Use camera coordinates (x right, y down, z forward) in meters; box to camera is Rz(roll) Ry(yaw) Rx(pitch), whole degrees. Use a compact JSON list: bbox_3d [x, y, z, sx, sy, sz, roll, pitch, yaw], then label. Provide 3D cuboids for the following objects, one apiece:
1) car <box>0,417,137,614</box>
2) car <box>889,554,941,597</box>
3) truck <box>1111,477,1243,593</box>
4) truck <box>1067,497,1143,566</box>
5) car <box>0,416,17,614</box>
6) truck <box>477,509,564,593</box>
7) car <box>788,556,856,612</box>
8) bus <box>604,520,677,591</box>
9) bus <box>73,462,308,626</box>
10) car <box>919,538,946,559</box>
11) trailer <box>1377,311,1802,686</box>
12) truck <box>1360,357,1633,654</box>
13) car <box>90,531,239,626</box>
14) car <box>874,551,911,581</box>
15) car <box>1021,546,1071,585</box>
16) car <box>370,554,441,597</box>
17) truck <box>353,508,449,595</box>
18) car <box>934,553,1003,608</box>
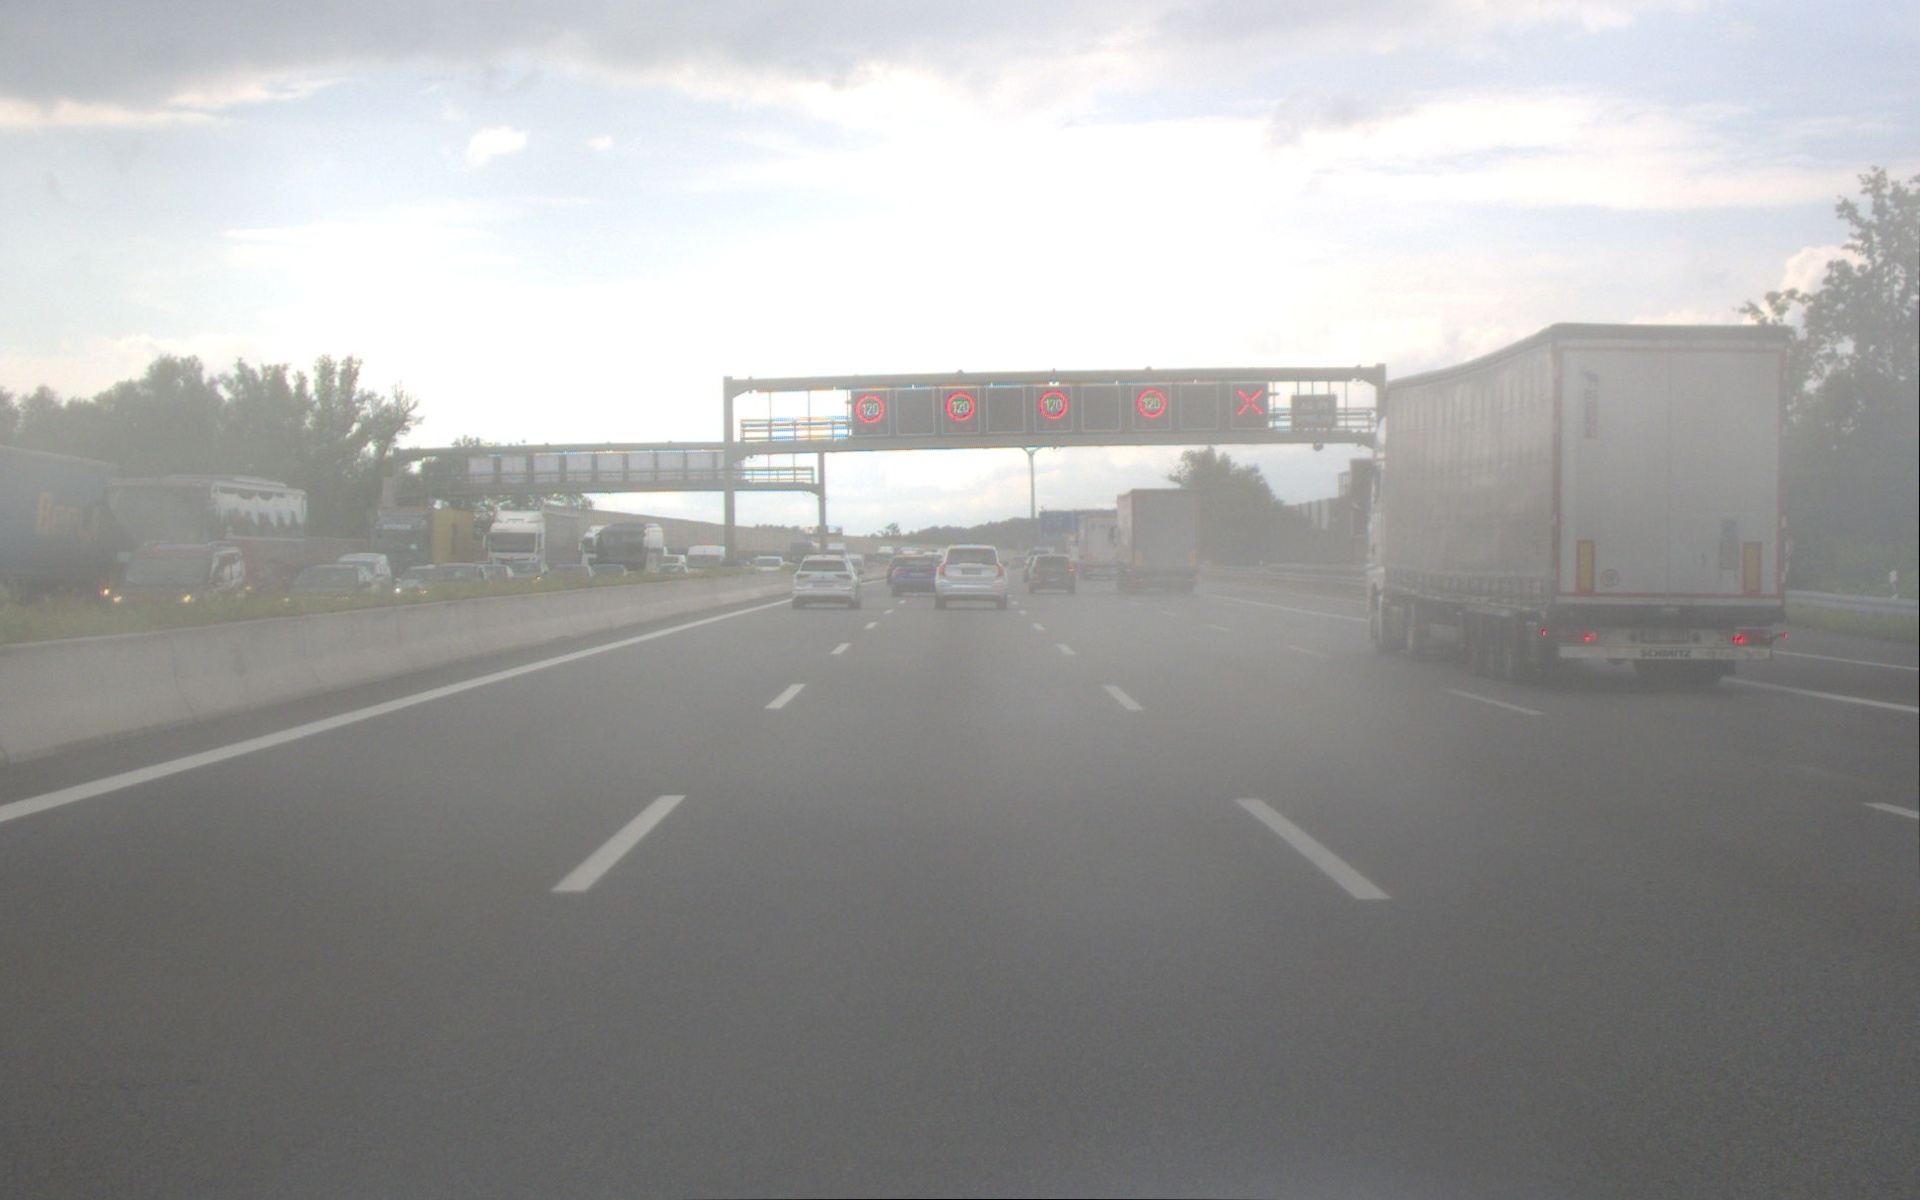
[{"bbox_3d":[-21.617,-1.873,77.161,2.982,4.109,14.396,1,1,-1],"label":"car"},{"bbox_3d":[-1.619,-0.878,121.384,1.772,1.436,4.056,0,1,-1],"label":"car"},{"bbox_3d":[8.452,-2.558,135.800,4.180,4.273,12.613,1,1,-1],"label":"truck"},{"bbox_3d":[9.056,-4.267,215.693,4.244,4.162,11.990,1,1,0],"label":"truck"},{"bbox_3d":[-21.523,-1.762,70.019,2.982,4.135,6.043,1,1,-1],"label":"car"},{"bbox_3d":[-21.419,-2.391,167.892,2.886,3.948,7.535,1,1,2],"label":"truck"},{"bbox_3d":[-3.712,-0.454,93.124,1.772,1.436,3.874,0,1,-1],"label":"car"},{"bbox_3d":[-17.009,-2.377,183.615,2.654,3.667,10.634,-1,1,1],"label":"bus"},{"bbox_3d":[-18.276,-1.338,82.628,2.890,3.599,12.760,1,1,-1],"label":"bus"},{"bbox_3d":[-1.863,-3.534,234.641,1.772,1.436,4.055,0,1,0],"label":"car"},{"bbox_3d":[7.611,-1.227,43.964,2.961,4.006,14.118,0,1,1],"label":"trailer"},{"bbox_3d":[7.655,-1.341,49.887,2.961,4.006,6.589,0,1,1],"label":"truck"},{"bbox_3d":[-14.634,-0.414,63.426,1.787,1.660,4.296,1,1,-1],"label":"car"},{"bbox_3d":[-3.387,-1.699,171.354,1.772,1.436,4.056,0,1,-2],"label":"car"},{"bbox_3d":[3.331,-1.344,133.389,1.836,1.436,4.055,0,1,0],"label":"car"},{"bbox_3d":[-19.173,-0.847,118.979,1.716,1.421,4.861,1,1,-1],"label":"car"},{"bbox_3d":[-26.115,-2.257,160.941,3.029,3.919,7.710,-1,0,1],"label":"truck"},{"bbox_3d":[0.213,-0.544,93.689,1.772,1.436,4.056,0,1,-1],"label":"car"}]
